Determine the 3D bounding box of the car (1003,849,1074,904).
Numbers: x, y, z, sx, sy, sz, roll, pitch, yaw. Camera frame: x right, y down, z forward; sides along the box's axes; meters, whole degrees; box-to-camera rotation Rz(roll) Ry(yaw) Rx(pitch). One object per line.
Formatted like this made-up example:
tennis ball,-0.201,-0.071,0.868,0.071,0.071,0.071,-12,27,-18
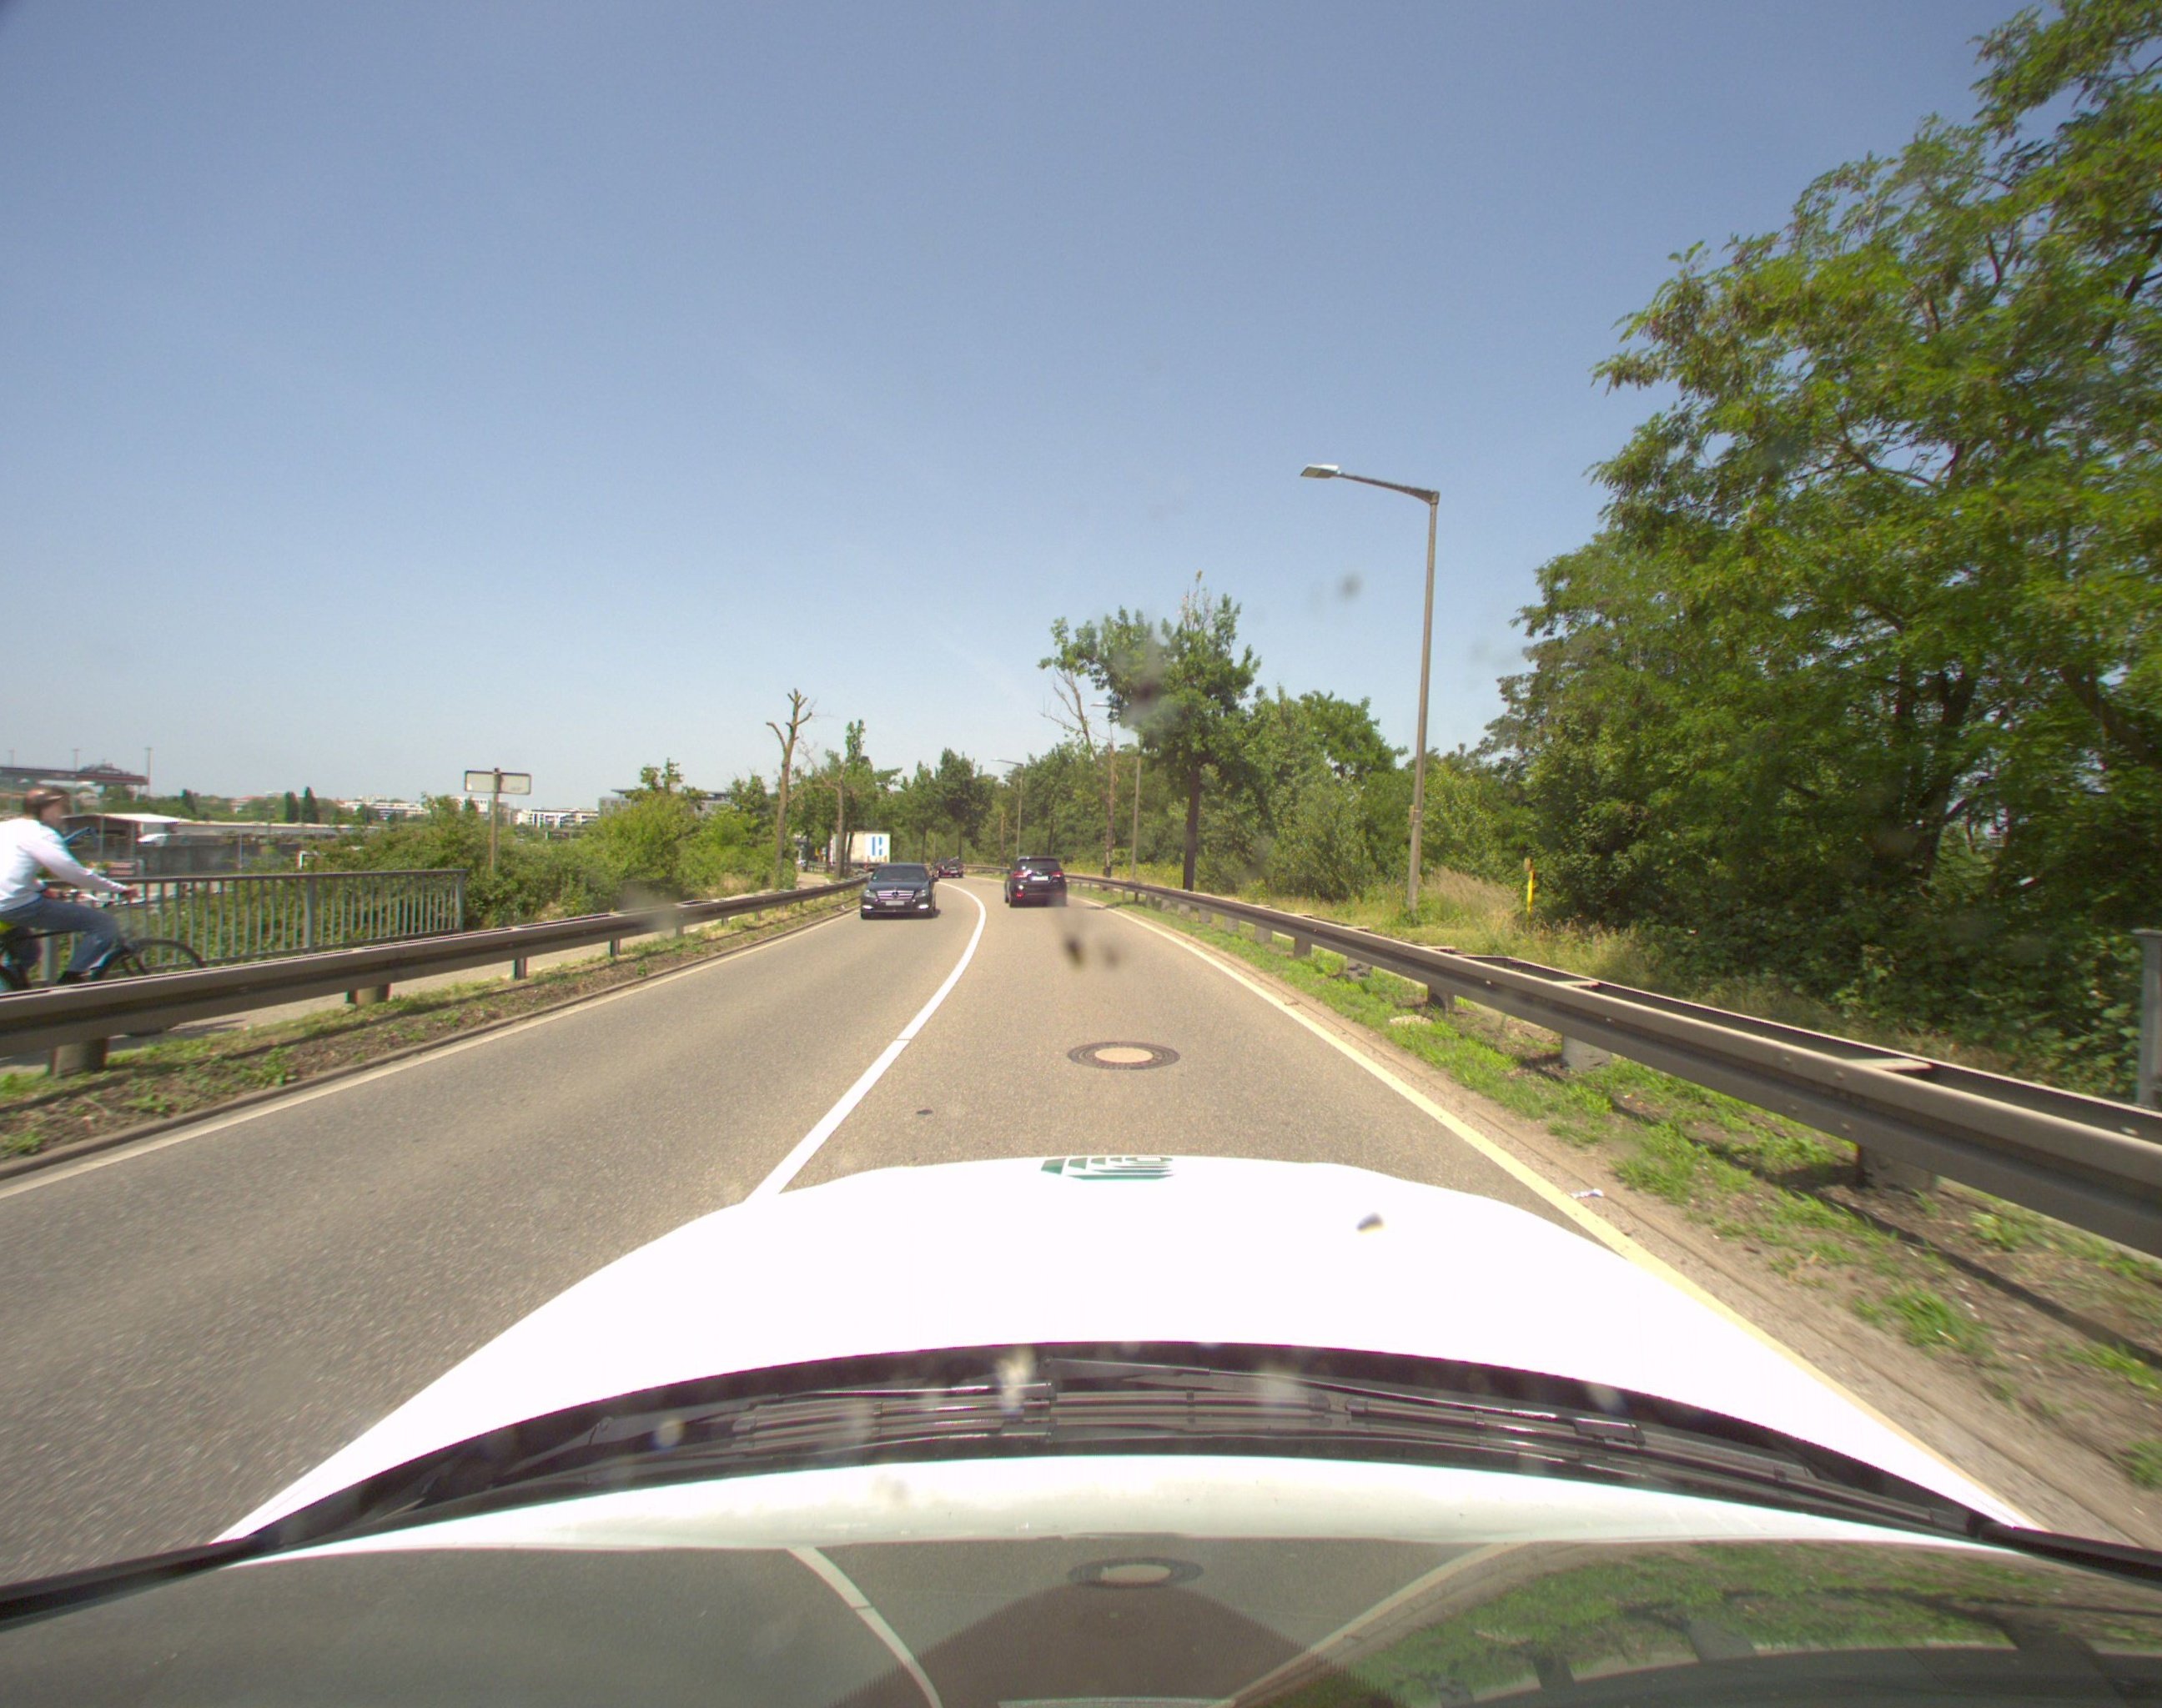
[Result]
car,-1.431,0.661,26.191,1.920,1.574,3.880,0,1,-8

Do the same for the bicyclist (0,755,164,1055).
bicyclist,-6.876,0.317,5.466,0.622,1.886,0.712,1,1,-2

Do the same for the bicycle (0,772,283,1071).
bicycle,-6.882,0.391,5.596,0.696,1.801,2.179,1,1,-2

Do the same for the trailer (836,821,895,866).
trailer,-22.403,-1.133,84.131,3.589,4.383,11.340,0,1,-27

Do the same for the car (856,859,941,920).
car,-4.754,0.861,21.728,1.673,1.443,4.121,0,0,-5

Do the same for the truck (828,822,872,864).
truck,-25.716,-1.267,90.538,3.591,4.440,6.460,0,1,-26

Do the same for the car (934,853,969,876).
car,-9.019,0.721,56.568,2.015,1.429,3.757,0,1,-16
